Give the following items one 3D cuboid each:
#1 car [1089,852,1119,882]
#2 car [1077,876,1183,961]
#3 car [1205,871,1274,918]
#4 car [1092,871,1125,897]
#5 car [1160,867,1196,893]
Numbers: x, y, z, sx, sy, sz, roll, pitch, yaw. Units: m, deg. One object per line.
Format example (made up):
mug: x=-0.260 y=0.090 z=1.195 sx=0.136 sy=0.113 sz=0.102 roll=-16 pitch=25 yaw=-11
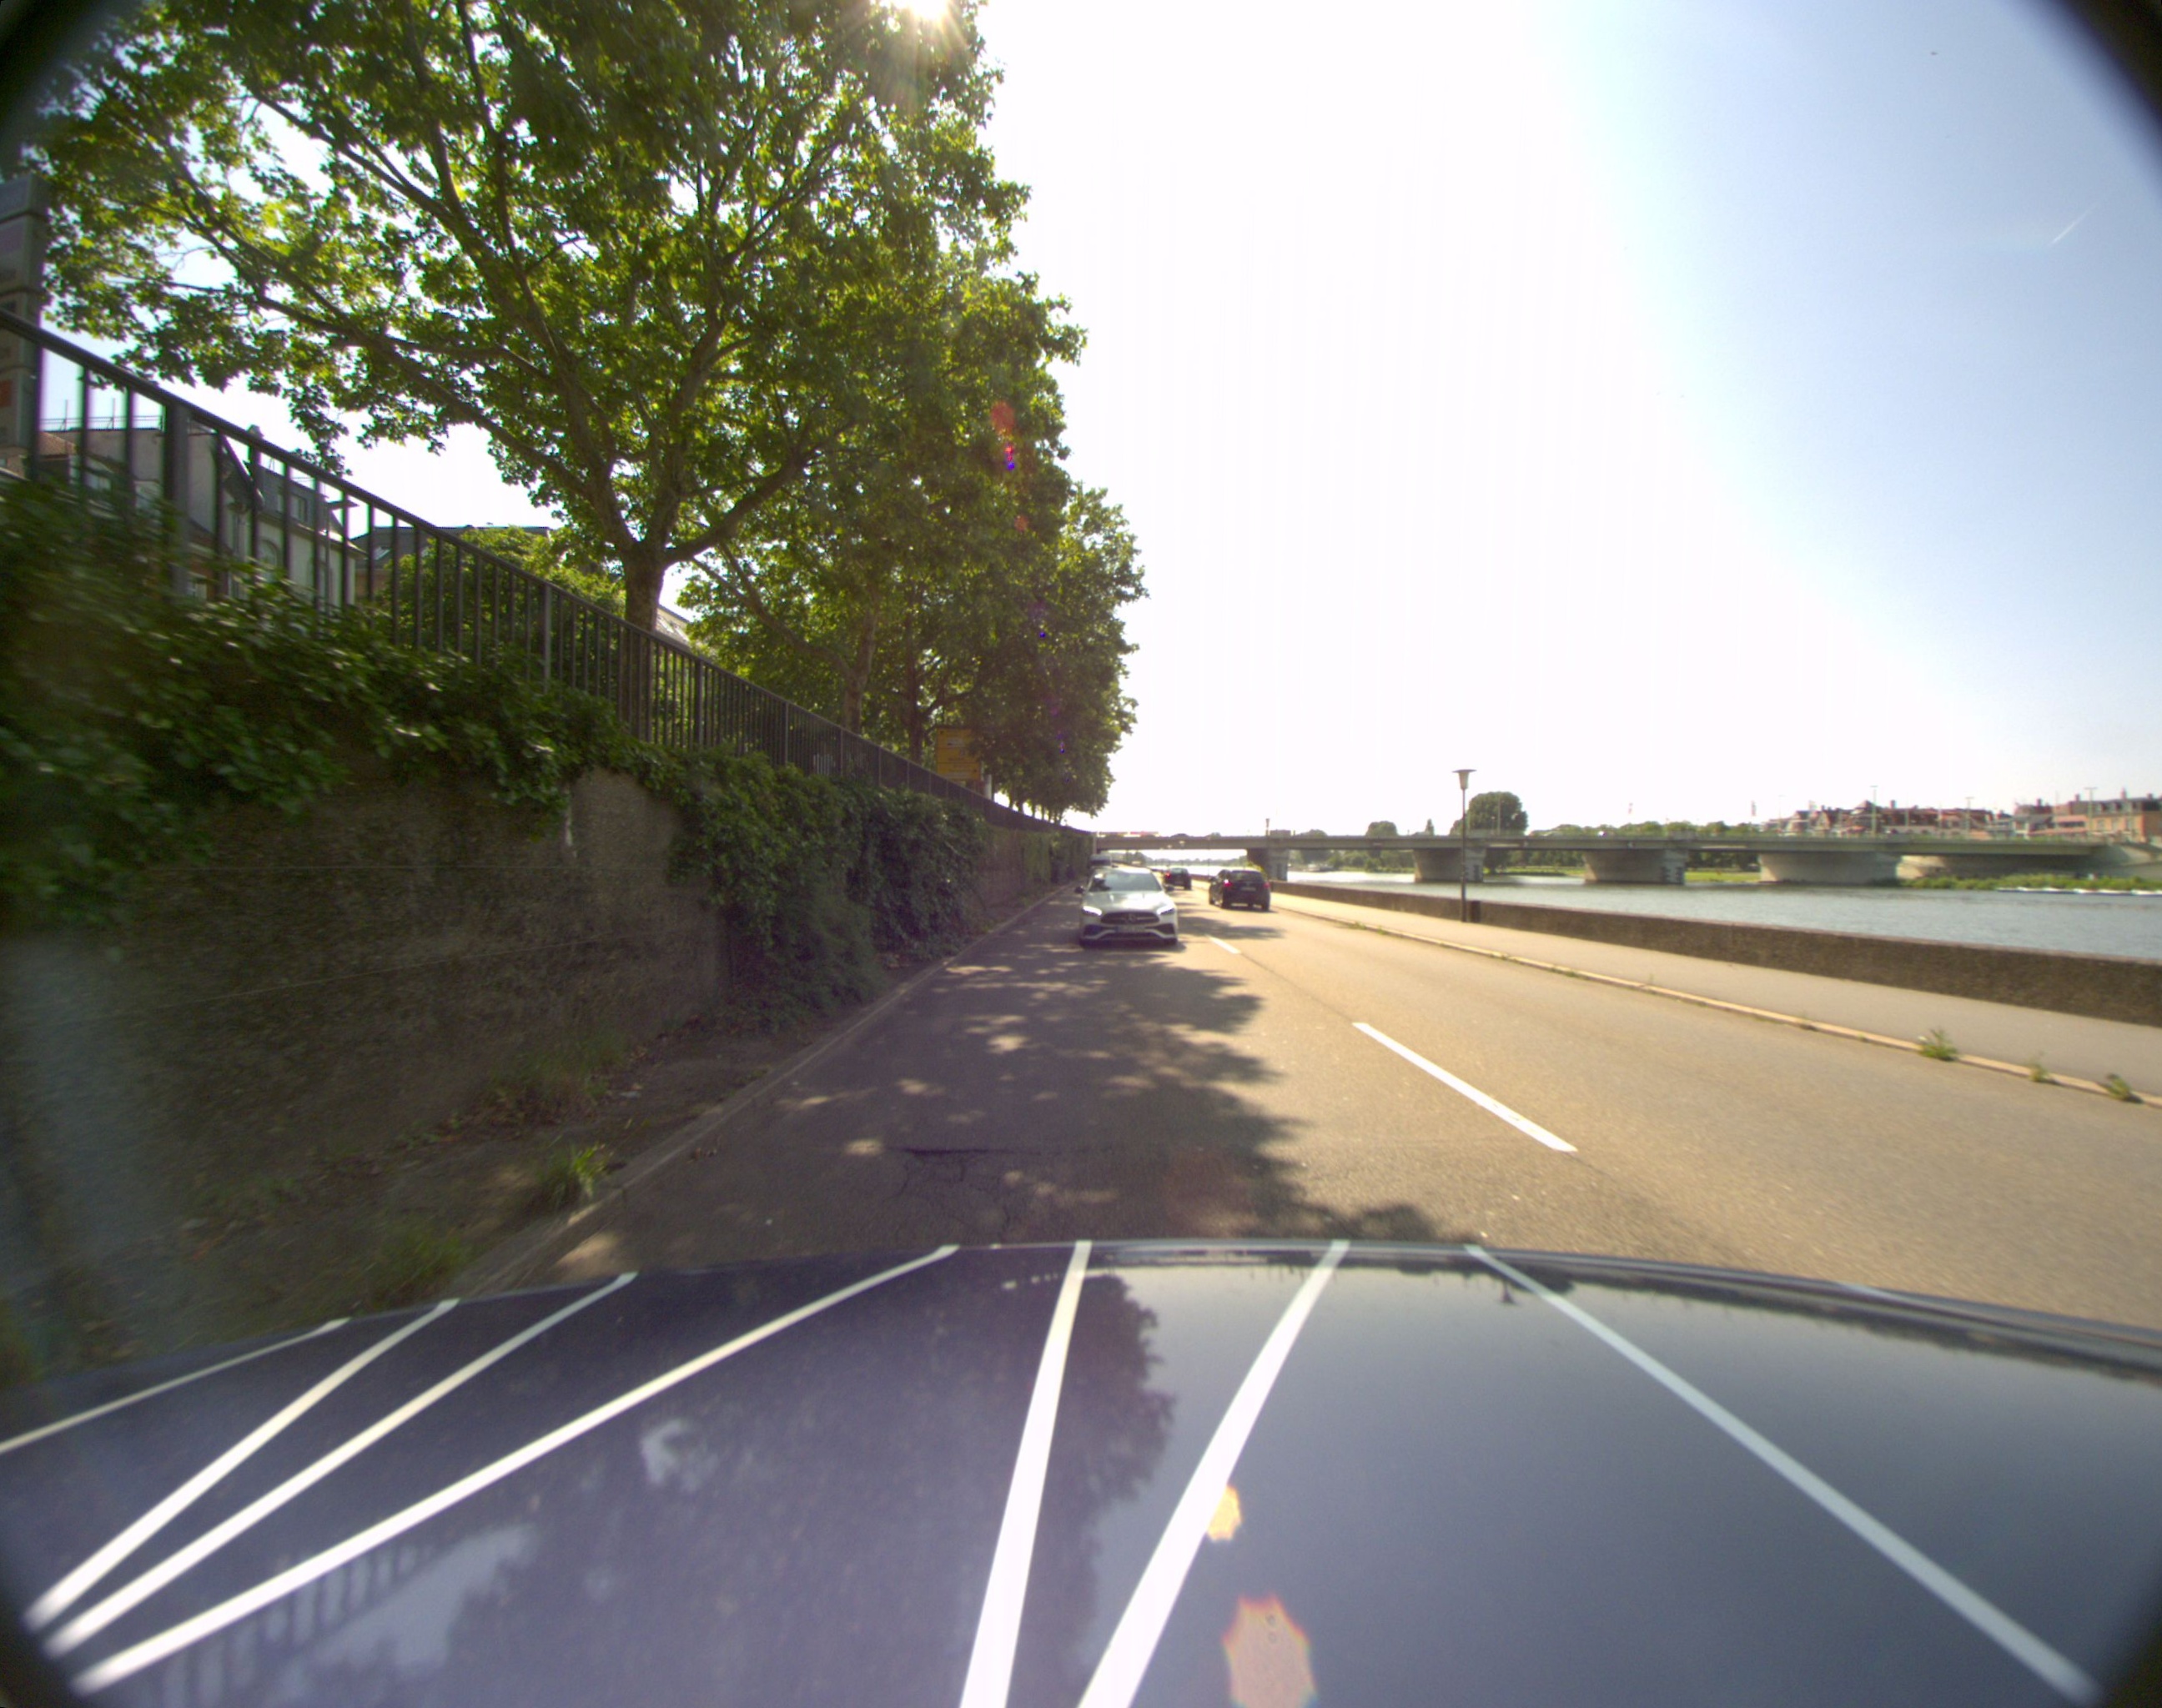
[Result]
car: x=1.924 y=1.098 z=65.842 sx=2.351 sy=2.428 sz=6.209 roll=0 pitch=-1 yaw=0
car: x=0.894 y=1.199 z=15.616 sx=1.830 sy=1.411 sz=4.553 roll=-1 pitch=-1 yaw=1
car: x=5.678 y=1.424 z=27.624 sx=1.670 sy=1.481 sz=3.726 roll=2 pitch=-1 yaw=0
car: x=1.595 y=1.752 z=45.341 sx=1.756 sy=1.384 sz=4.620 roll=1 pitch=-1 yaw=0
car: x=6.072 y=1.599 z=47.948 sx=1.733 sy=1.564 sz=4.001 roll=1 pitch=-1 yaw=1
